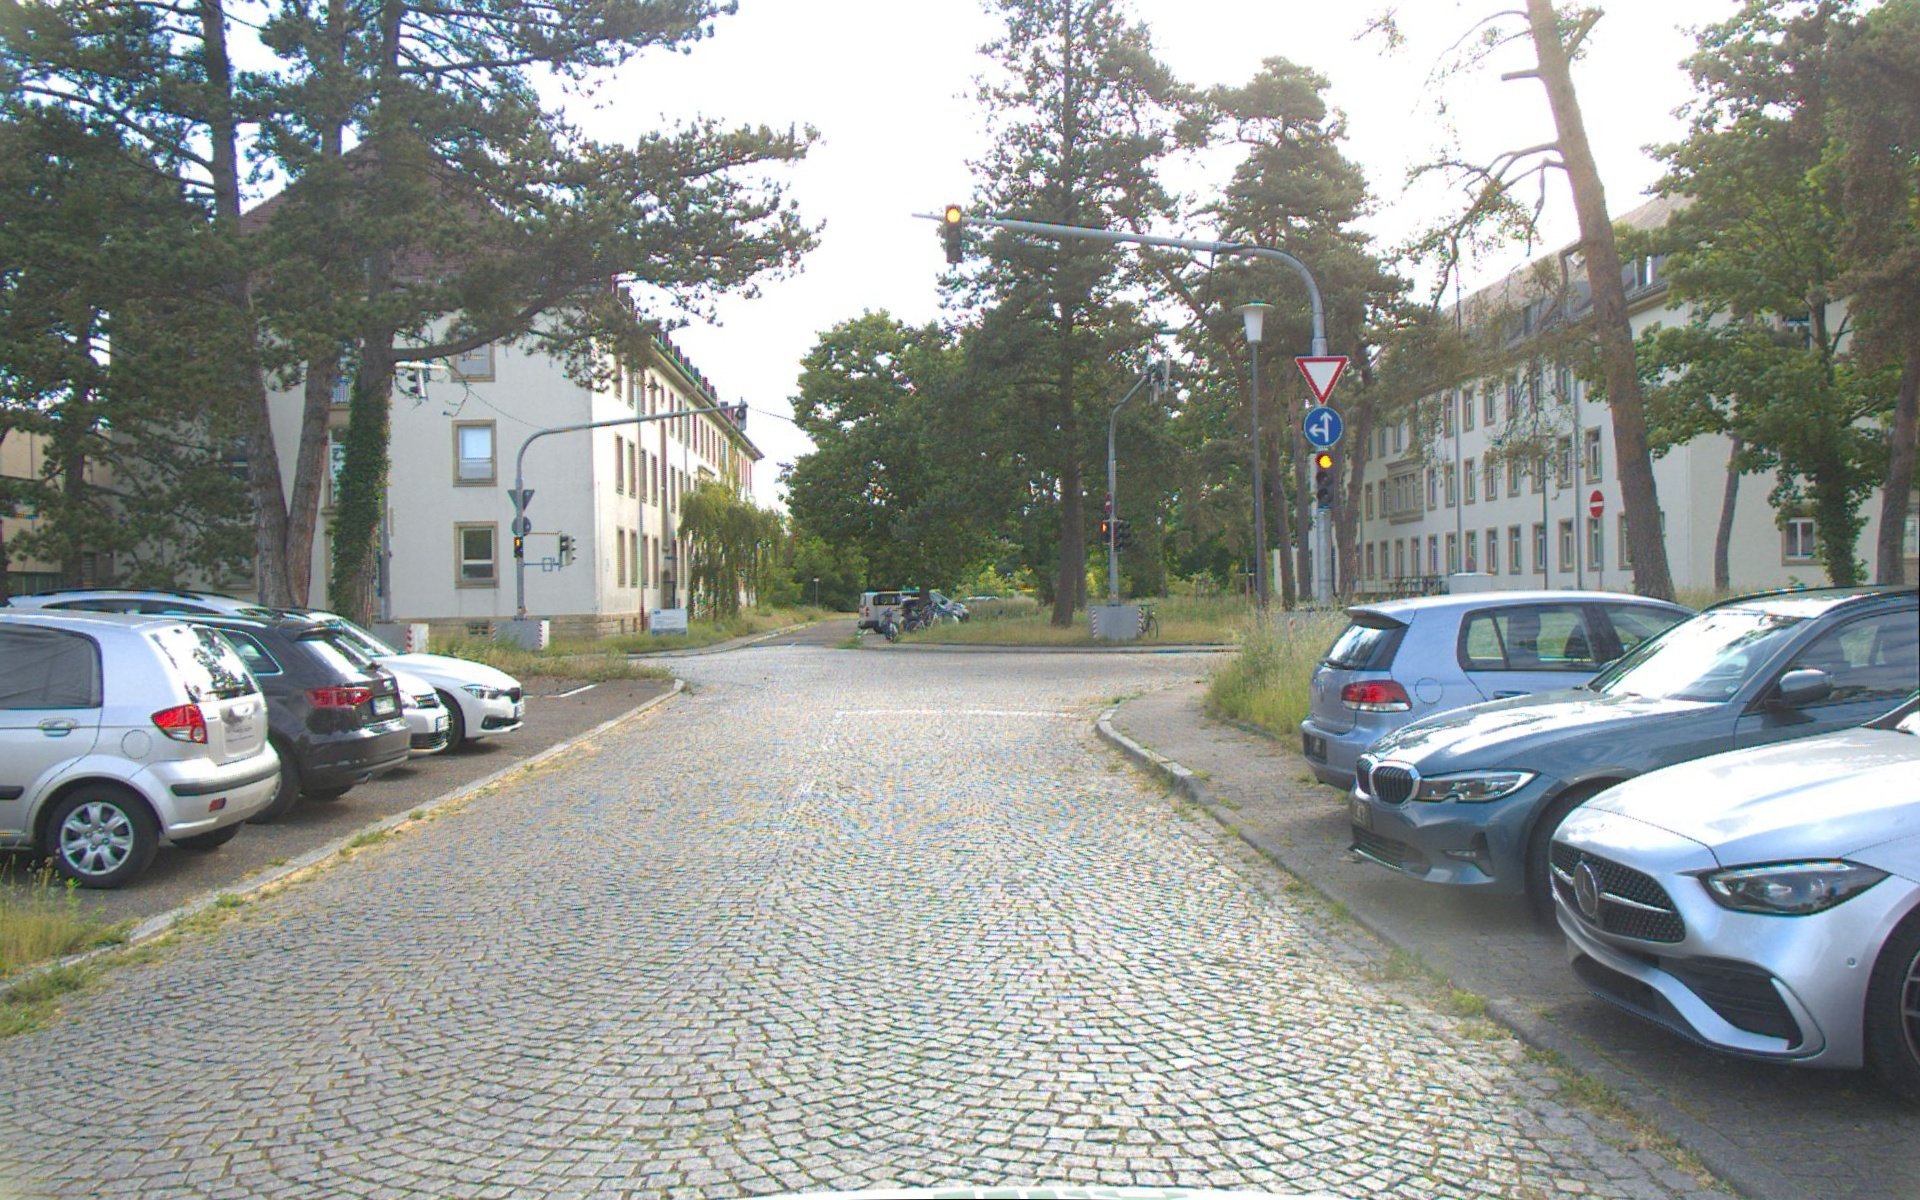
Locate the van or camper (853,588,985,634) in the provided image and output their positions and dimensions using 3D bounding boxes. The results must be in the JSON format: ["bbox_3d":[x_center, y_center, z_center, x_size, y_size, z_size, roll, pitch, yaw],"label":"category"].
[{"bbox_3d":[-1.925,0.508,77.683,5.927,1.983,1.994,-1,0,-13],"label":"van or camper"}]

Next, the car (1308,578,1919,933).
[{"bbox_3d":[4.203,0.661,8.396,4.425,1.509,1.806,-1,0,-5],"label":"car"}]

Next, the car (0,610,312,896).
[{"bbox_3d":[-5.862,0.815,9.638,3.506,1.501,1.645,1,0,-5],"label":"car"}]

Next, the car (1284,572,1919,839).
[{"bbox_3d":[4.225,0.634,10.945,3.766,1.496,1.641,-2,0,-3],"label":"car"}]

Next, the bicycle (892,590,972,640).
[{"bbox_3d":[-1.021,0.532,59.803,2.723,1.723,1.118,-1,0,-8],"label":"bicycle"}]

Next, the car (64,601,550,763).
[{"bbox_3d":[-6.757,0.840,17.551,4.391,1.467,1.828,2,0,-6],"label":"car"}]

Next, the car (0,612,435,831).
[{"bbox_3d":[-6.034,0.841,12.204,3.759,1.433,1.694,1,0,-3],"label":"car"}]

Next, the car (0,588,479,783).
[{"bbox_3d":[-6.526,0.746,15.165,3.756,1.635,1.734,1,0,-5],"label":"car"}]

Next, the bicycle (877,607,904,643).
[{"bbox_3d":[-2.319,0.832,55.464,0.711,1.127,2.461,-6,0,-1],"label":"bicycle"}]

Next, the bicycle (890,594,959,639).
[{"bbox_3d":[-1.412,0.654,65.886,2.719,1.724,1.120,1,0,-1],"label":"bicycle"}]

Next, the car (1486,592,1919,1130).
[{"bbox_3d":[4.222,0.681,5.659,4.240,1.453,1.766,-2,0,-4],"label":"car"}]

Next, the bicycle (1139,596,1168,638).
[{"bbox_3d":[5.646,0.490,48.282,0.709,1.189,2.738,0,0,4],"label":"bicycle"}]

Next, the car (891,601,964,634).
[{"bbox_3d":[-1.474,0.790,74.182,3.079,1.378,1.617,-1,0,-8],"label":"car"}]

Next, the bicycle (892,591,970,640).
[{"bbox_3d":[-1.091,0.562,60.994,2.725,1.723,1.117,-1,0,-10],"label":"bicycle"}]
